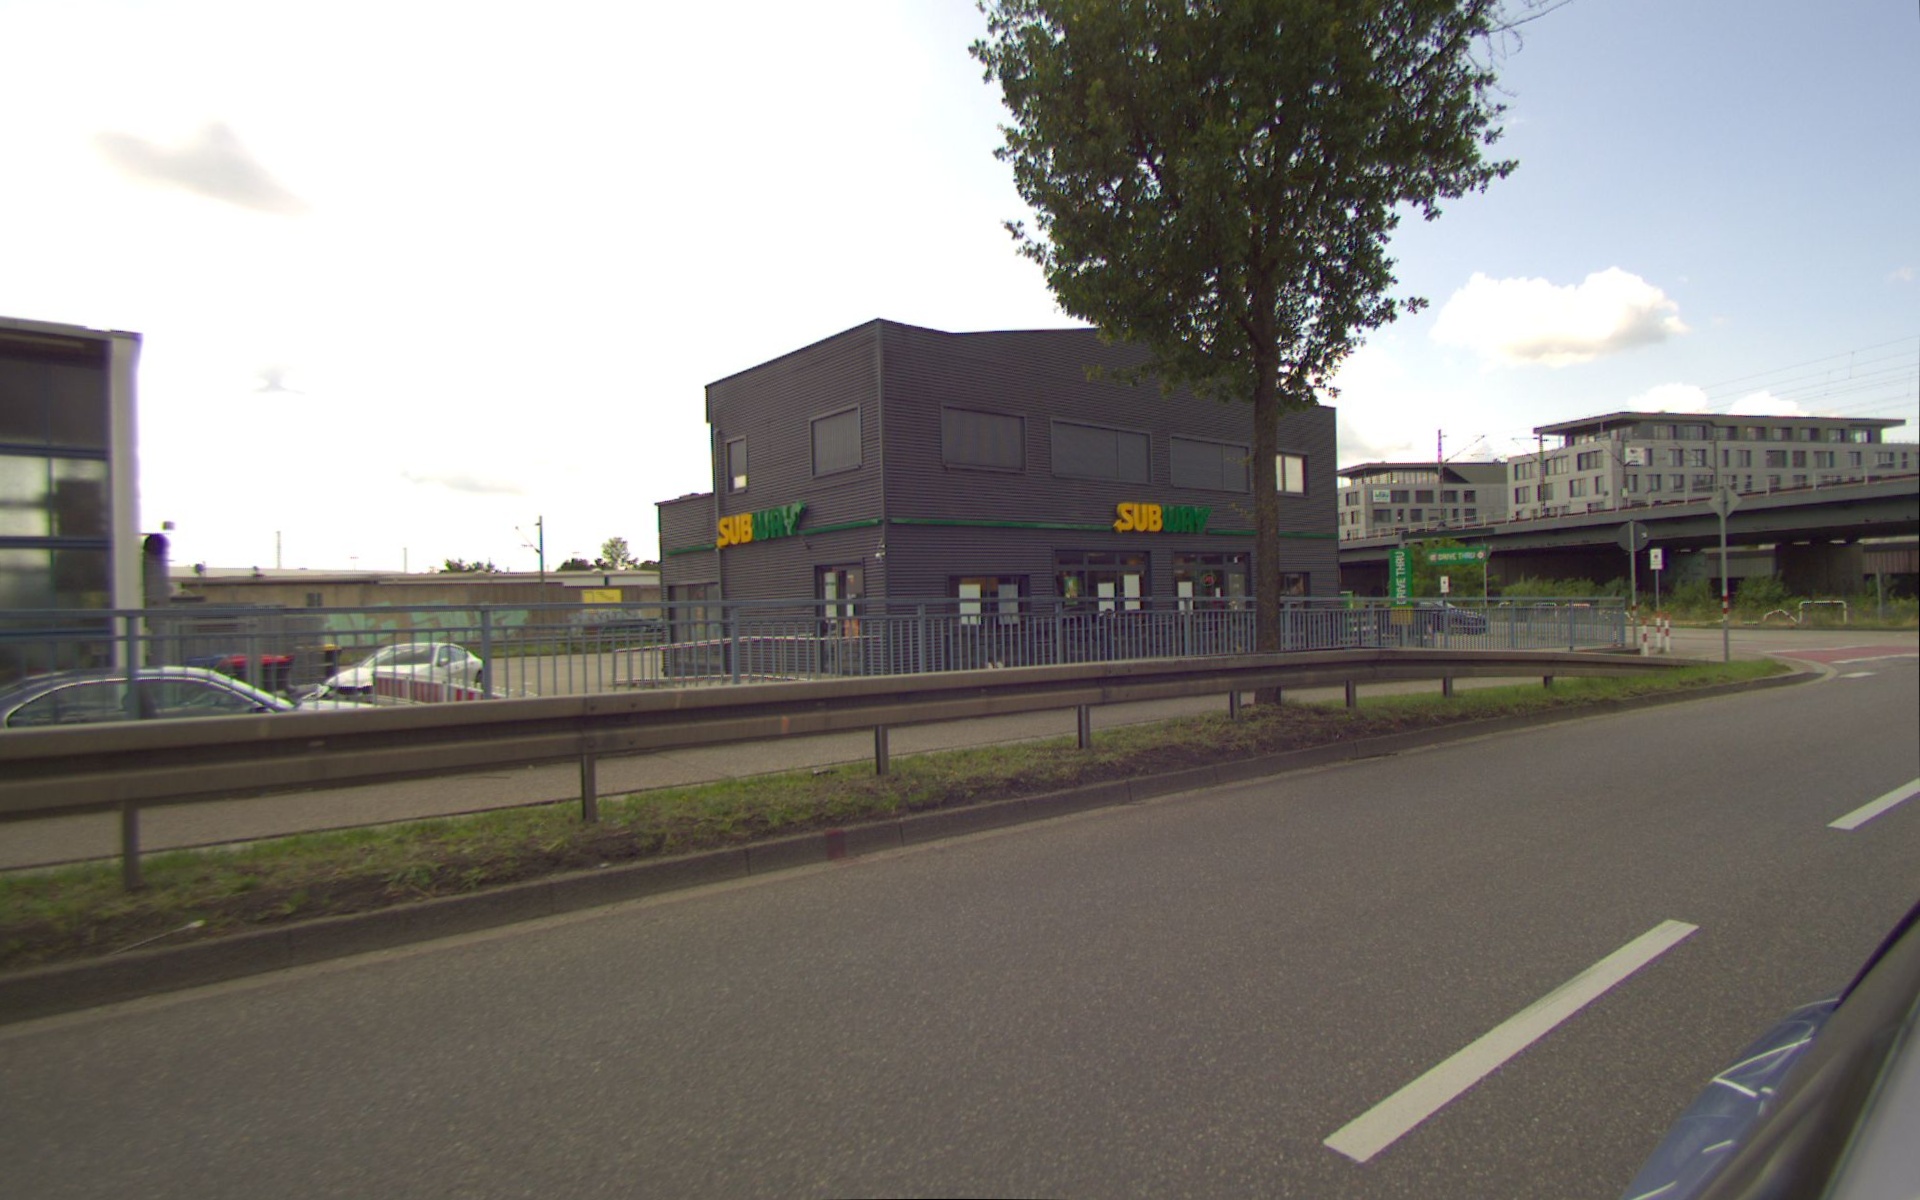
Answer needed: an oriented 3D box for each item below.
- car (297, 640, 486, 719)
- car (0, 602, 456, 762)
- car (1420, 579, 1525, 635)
[{"bbox_3d":[-11.927,1.606,21.615,1.960,1.301,4.384,0,0,-6],"label":"car"},{"bbox_3d":[-8.045,0.728,10.579,4.665,1.376,1.997,0,0,-40],"label":"car"},{"bbox_3d":[20.020,0.255,39.701,1.718,2.039,3.886,-1,0,-8],"label":"car"}]
